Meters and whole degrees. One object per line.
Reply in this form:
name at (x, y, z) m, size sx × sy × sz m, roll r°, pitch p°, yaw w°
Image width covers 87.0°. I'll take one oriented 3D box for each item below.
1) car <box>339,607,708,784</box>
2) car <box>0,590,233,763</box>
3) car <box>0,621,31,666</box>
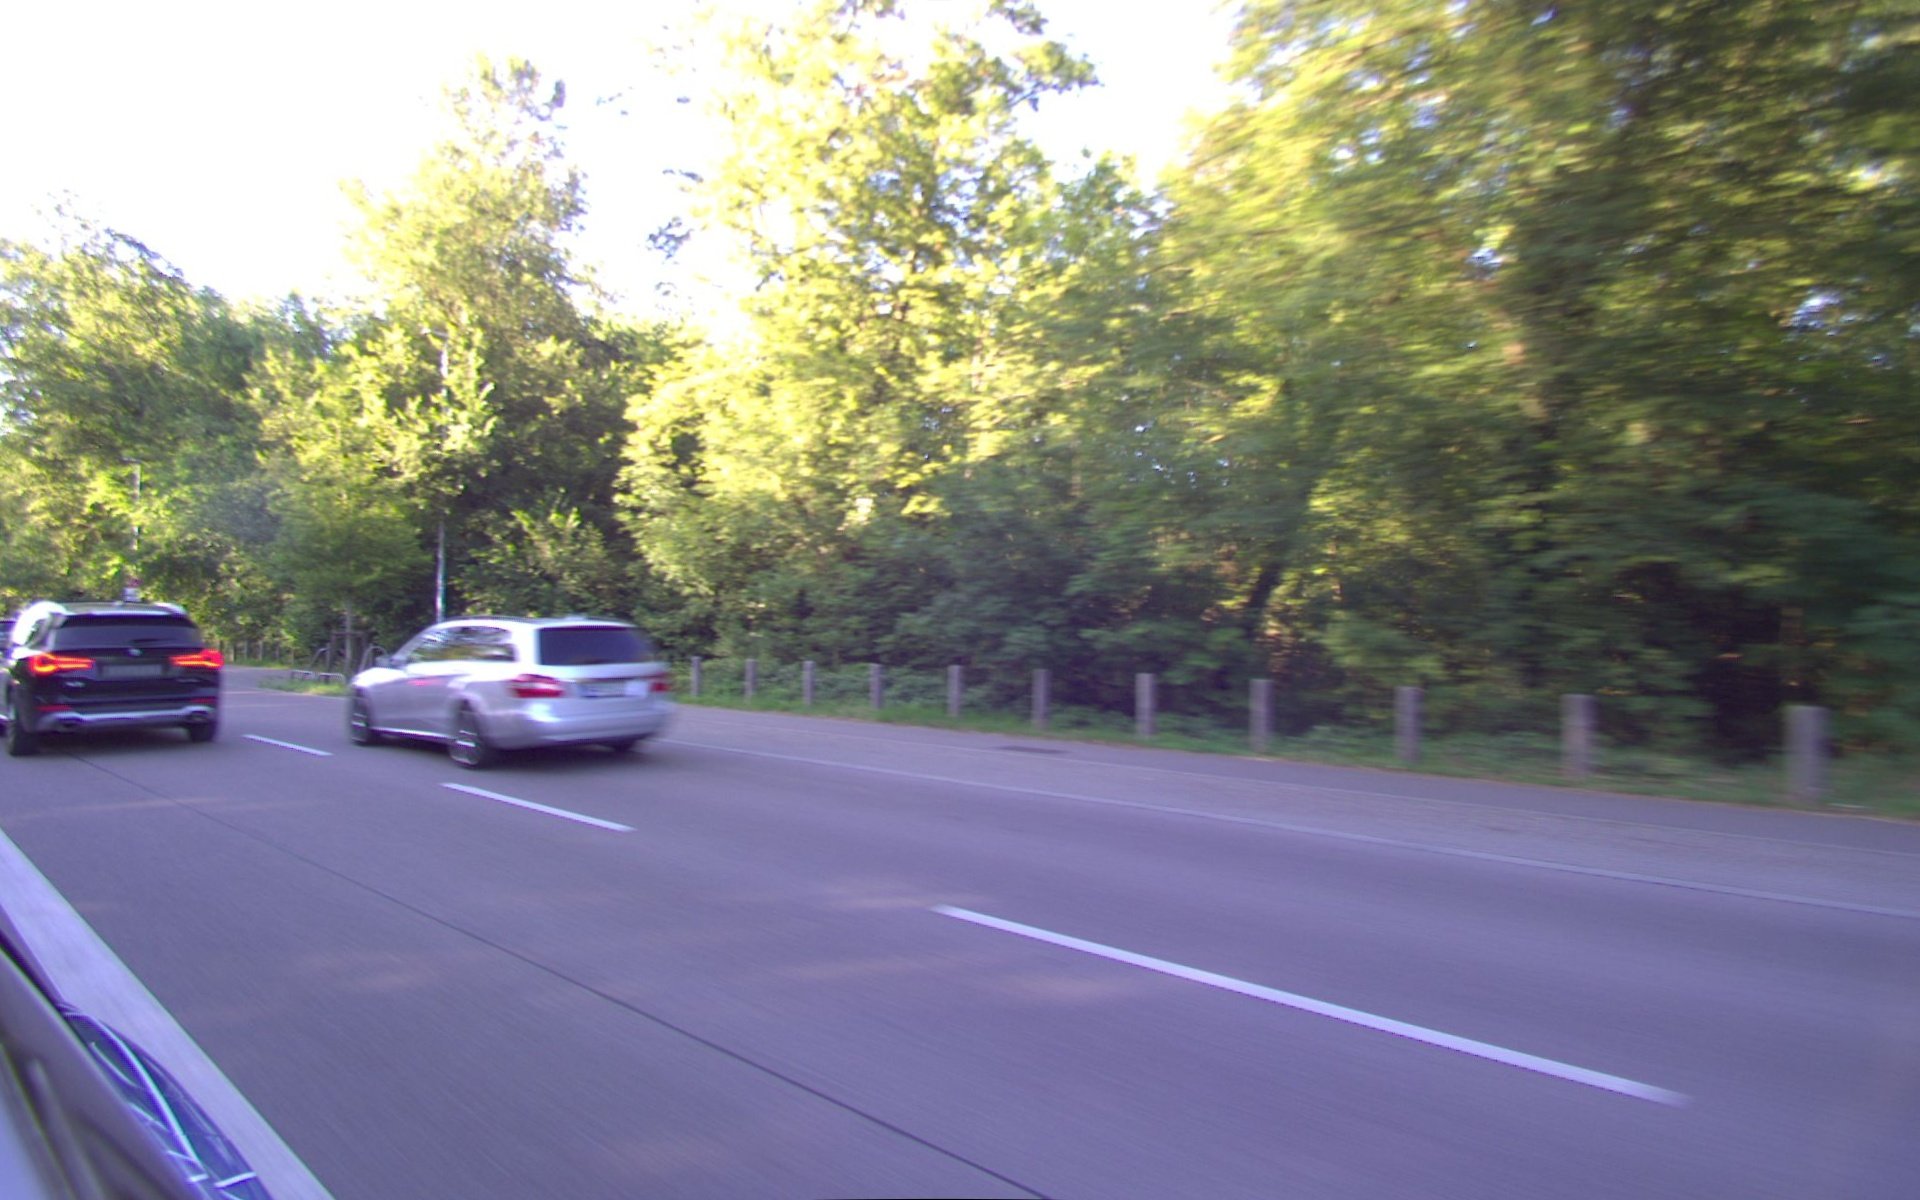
car at (-4.880, 0.878, 11.007) m, size 4.525 × 1.543 × 1.879 m, roll -1°, pitch -2°, yaw 40°
car at (-10.528, 0.815, 12.217) m, size 4.440 × 1.717 × 1.898 m, roll -1°, pitch -2°, yaw 42°
car at (-36.354, 1.614, 37.882) m, size 3.996 × 1.612 × 1.782 m, roll -1°, pitch -2°, yaw 39°
